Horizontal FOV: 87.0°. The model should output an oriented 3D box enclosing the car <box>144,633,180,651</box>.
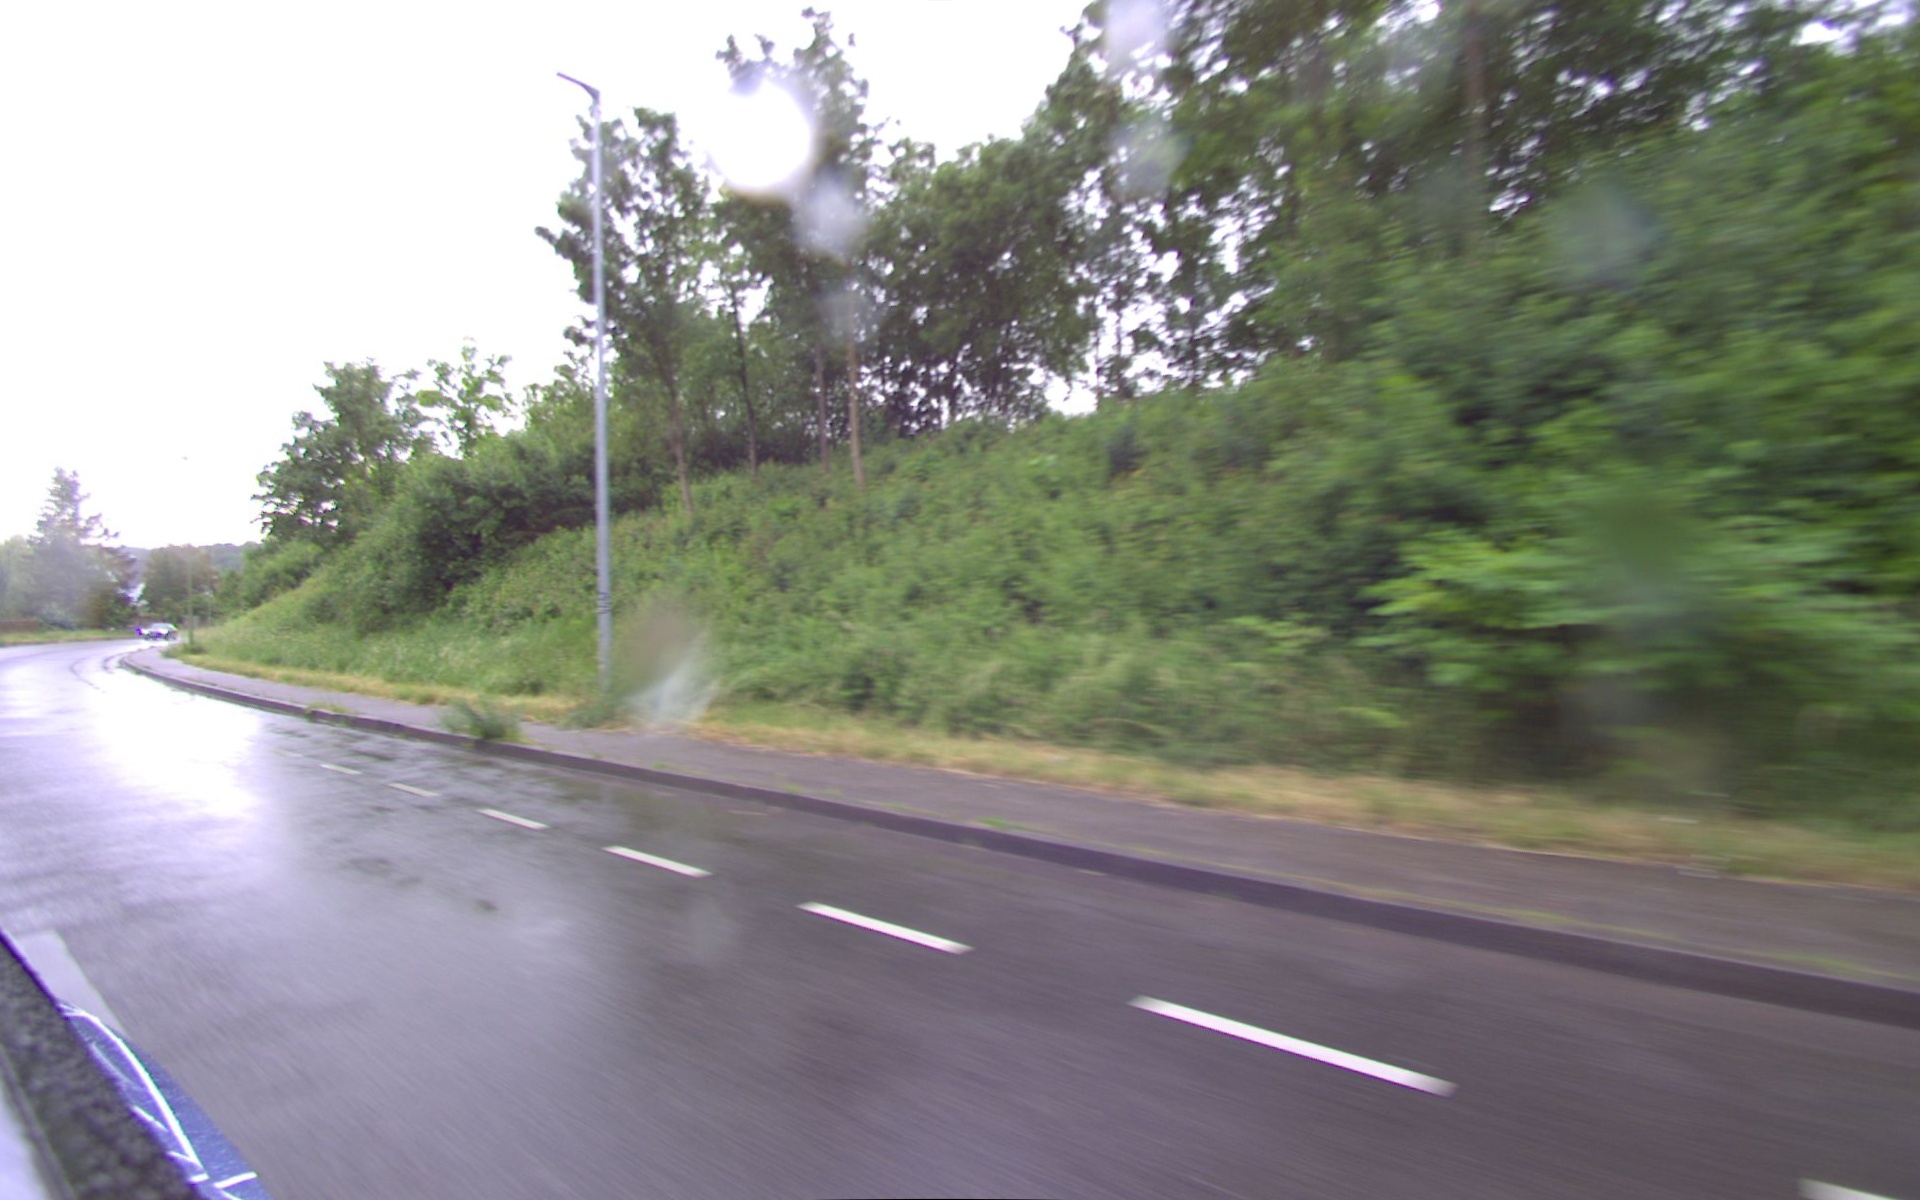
[{"bbox_3d":[-73.329,3.824,93.014,1.848,1.618,4.013,2,-2,-27],"label":"car"}]
